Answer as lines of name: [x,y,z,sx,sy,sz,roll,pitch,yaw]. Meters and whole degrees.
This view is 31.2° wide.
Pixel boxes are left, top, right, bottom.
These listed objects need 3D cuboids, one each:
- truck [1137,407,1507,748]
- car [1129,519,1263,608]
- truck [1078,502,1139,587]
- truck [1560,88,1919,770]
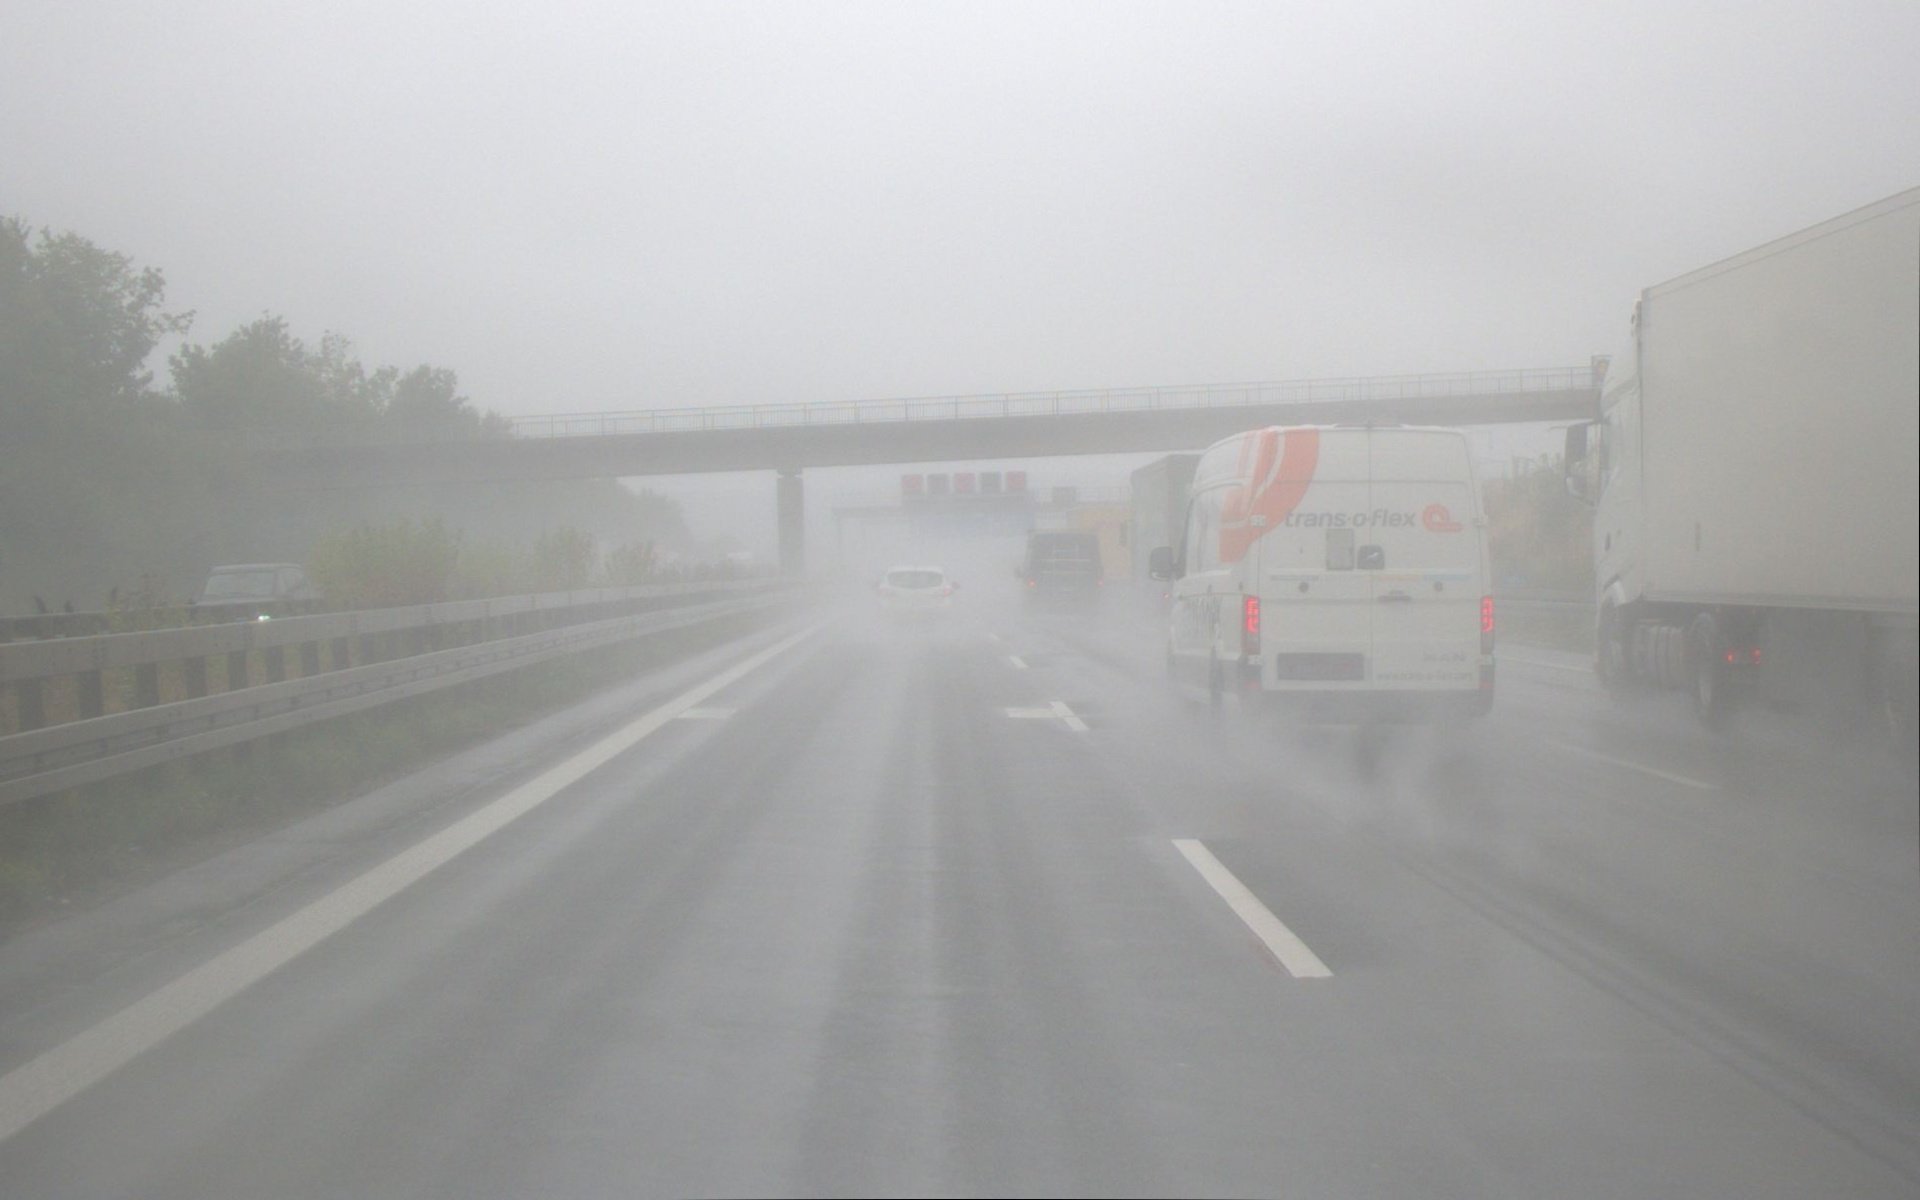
truck: [2.803,-0.257,28.072,2.419,2.484,5.560,1,2,0]
car: [5.636,-0.913,82.828,2.788,2.006,4.993,0,2,-1]
truck: [6.249,-2.371,145.229,2.109,3.504,5.248,0,2,-2]
truck: [7.861,-1.210,26.998,3.039,4.572,16.352,0,1,-1]
